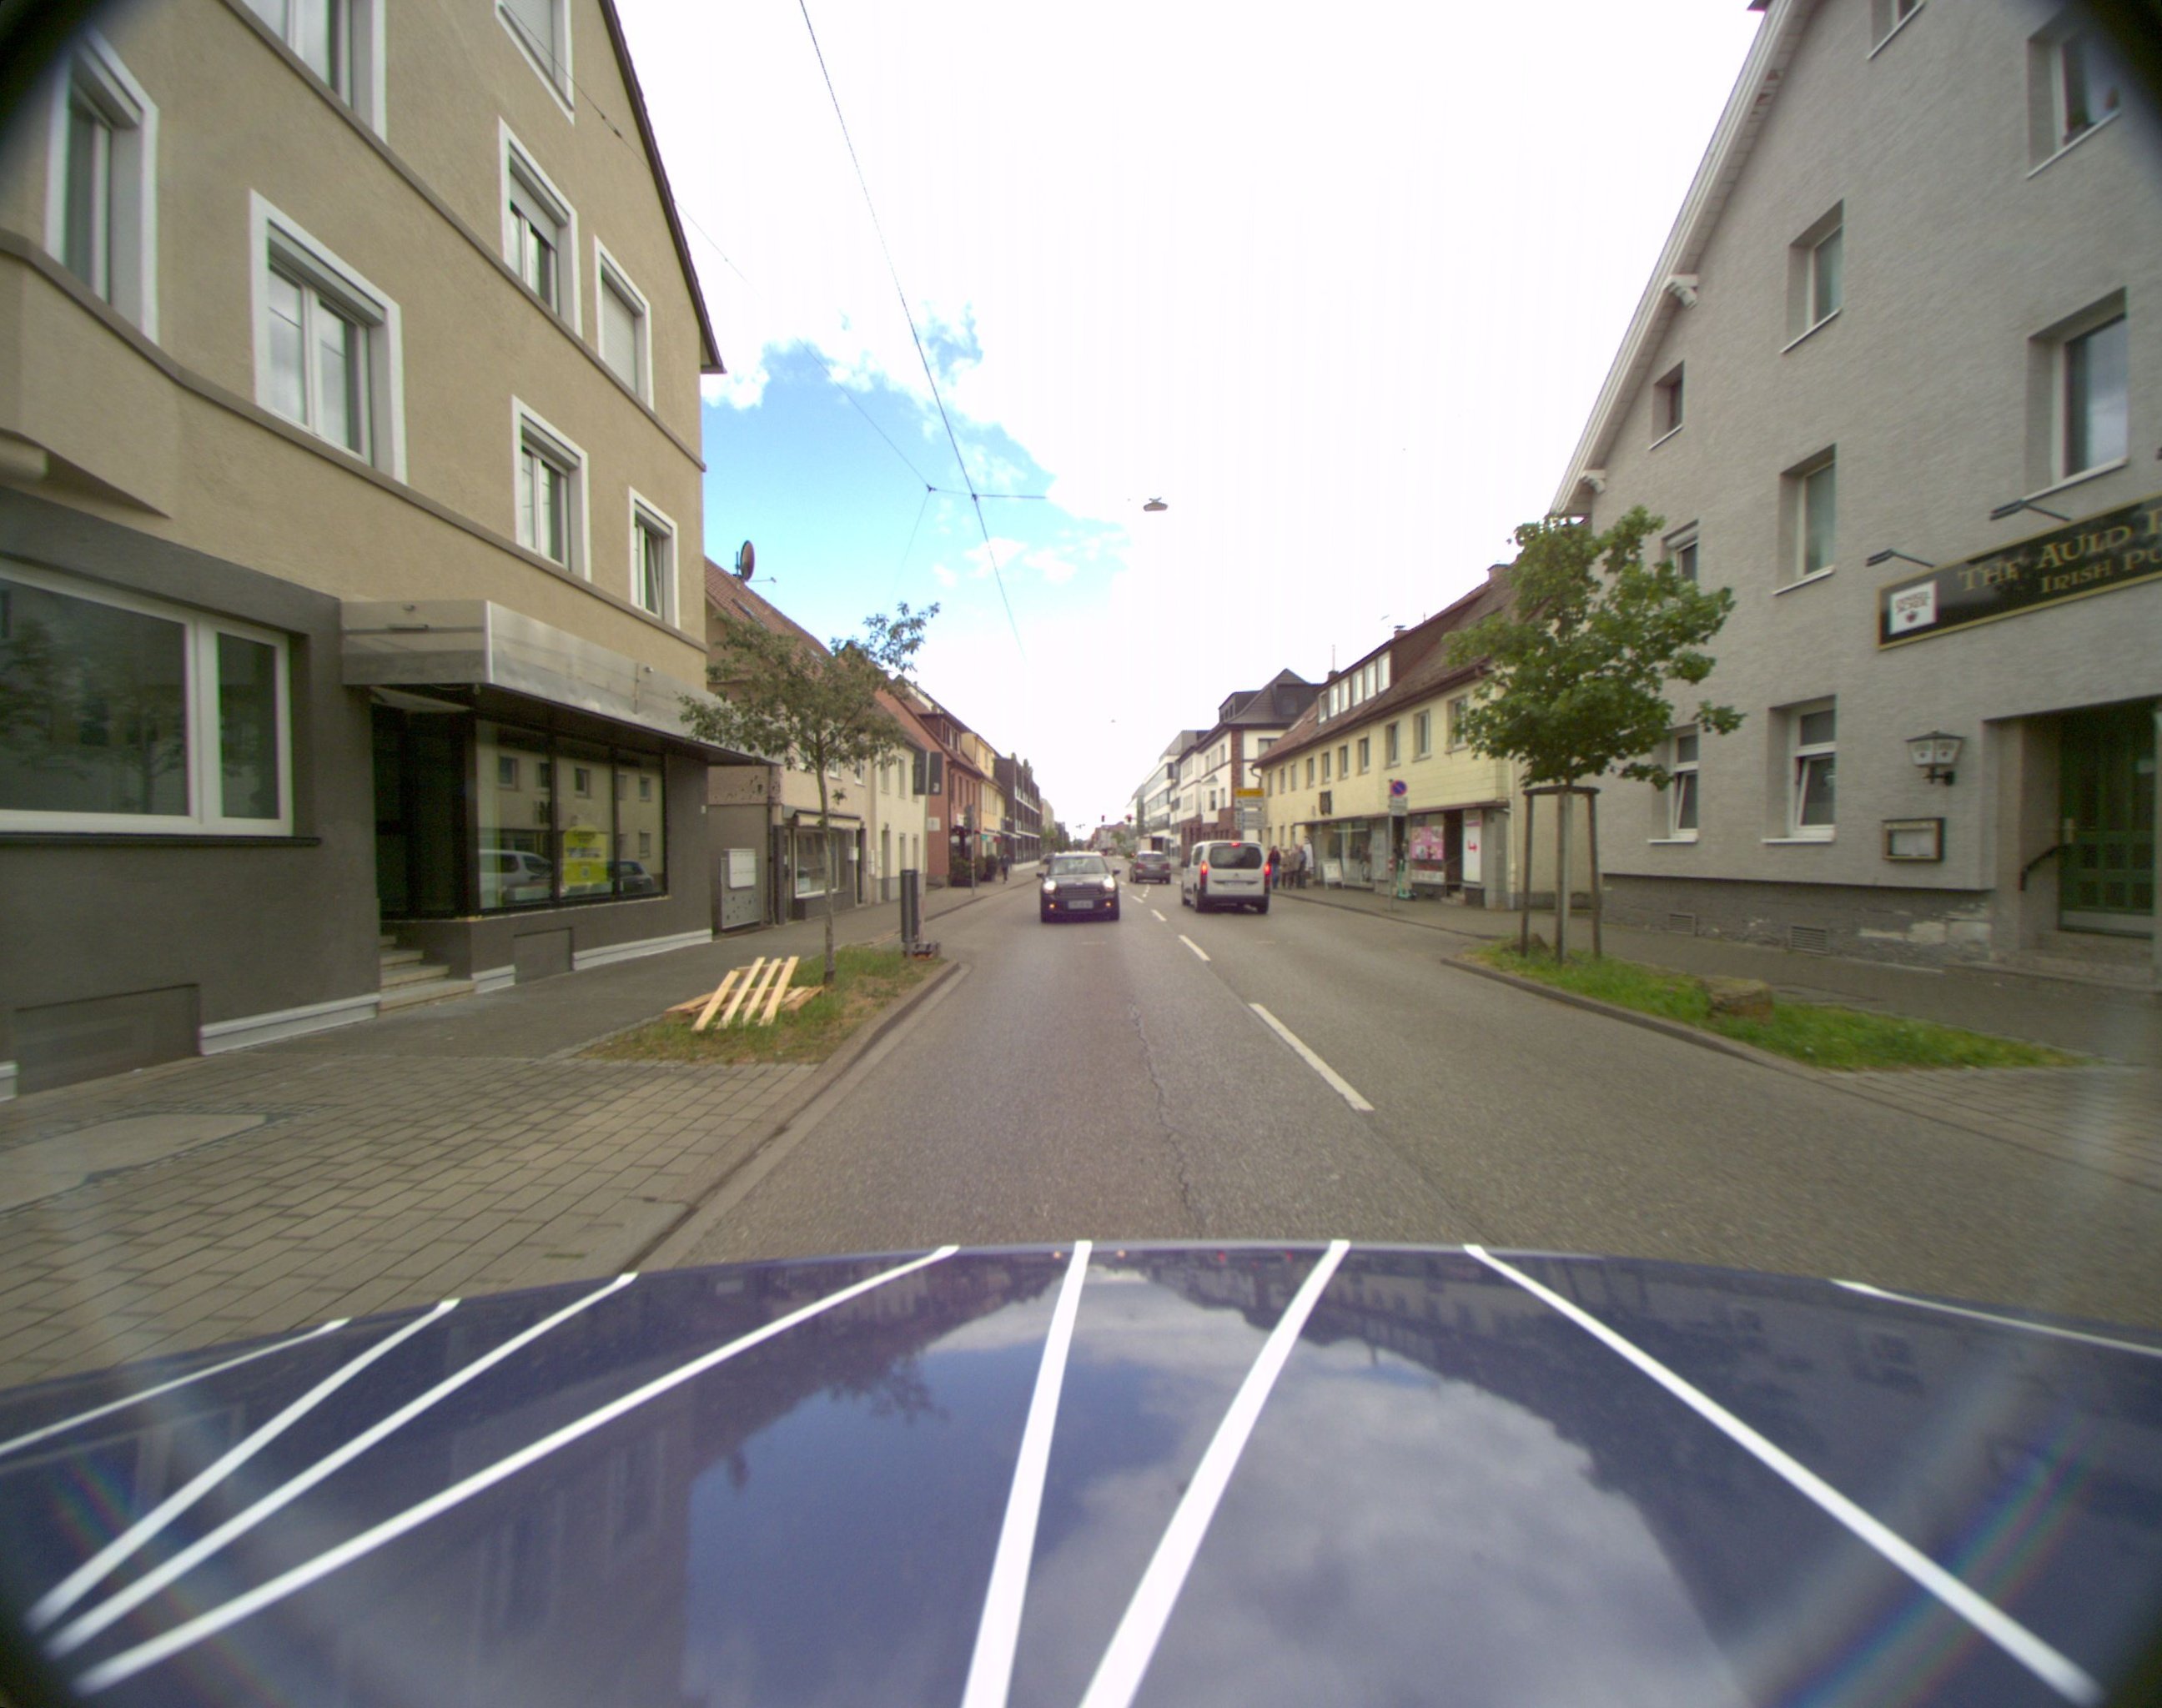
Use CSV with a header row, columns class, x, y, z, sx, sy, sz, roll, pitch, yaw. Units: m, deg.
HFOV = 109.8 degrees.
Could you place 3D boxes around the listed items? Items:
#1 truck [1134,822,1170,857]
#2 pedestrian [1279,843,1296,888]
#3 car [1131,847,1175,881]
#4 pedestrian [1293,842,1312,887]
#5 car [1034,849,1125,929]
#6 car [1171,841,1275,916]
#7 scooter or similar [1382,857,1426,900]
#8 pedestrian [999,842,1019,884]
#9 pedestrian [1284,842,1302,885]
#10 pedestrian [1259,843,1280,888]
class,x,y,z,sx,sy,sz,roll,pitch,yaw
truck,6.188,-1.271,67.233,2.469,2.954,5.963,-2,1,-1
pedestrian,8.018,0.434,29.466,0.497,1.727,0.648,0,1,1
car,3.583,0.459,38.332,1.784,1.543,4.074,2,1,0
pedestrian,8.579,0.400,29.463,0.555,1.727,0.648,0,1,1
car,0.005,0.733,18.394,1.847,1.571,4.428,-3,1,1
car,3.623,0.550,20.147,1.998,1.786,4.277,0,1,1
scooter or similar,9.353,0.697,22.052,0.529,1.163,1.721,-2,1,1
pedestrian,-3.656,0.429,38.593,0.826,2.063,1.010,2,1,-2
pedestrian,8.600,0.382,30.844,0.555,1.727,0.648,0,1,1
pedestrian,7.422,0.451,29.925,0.679,1.727,0.717,0,1,1
